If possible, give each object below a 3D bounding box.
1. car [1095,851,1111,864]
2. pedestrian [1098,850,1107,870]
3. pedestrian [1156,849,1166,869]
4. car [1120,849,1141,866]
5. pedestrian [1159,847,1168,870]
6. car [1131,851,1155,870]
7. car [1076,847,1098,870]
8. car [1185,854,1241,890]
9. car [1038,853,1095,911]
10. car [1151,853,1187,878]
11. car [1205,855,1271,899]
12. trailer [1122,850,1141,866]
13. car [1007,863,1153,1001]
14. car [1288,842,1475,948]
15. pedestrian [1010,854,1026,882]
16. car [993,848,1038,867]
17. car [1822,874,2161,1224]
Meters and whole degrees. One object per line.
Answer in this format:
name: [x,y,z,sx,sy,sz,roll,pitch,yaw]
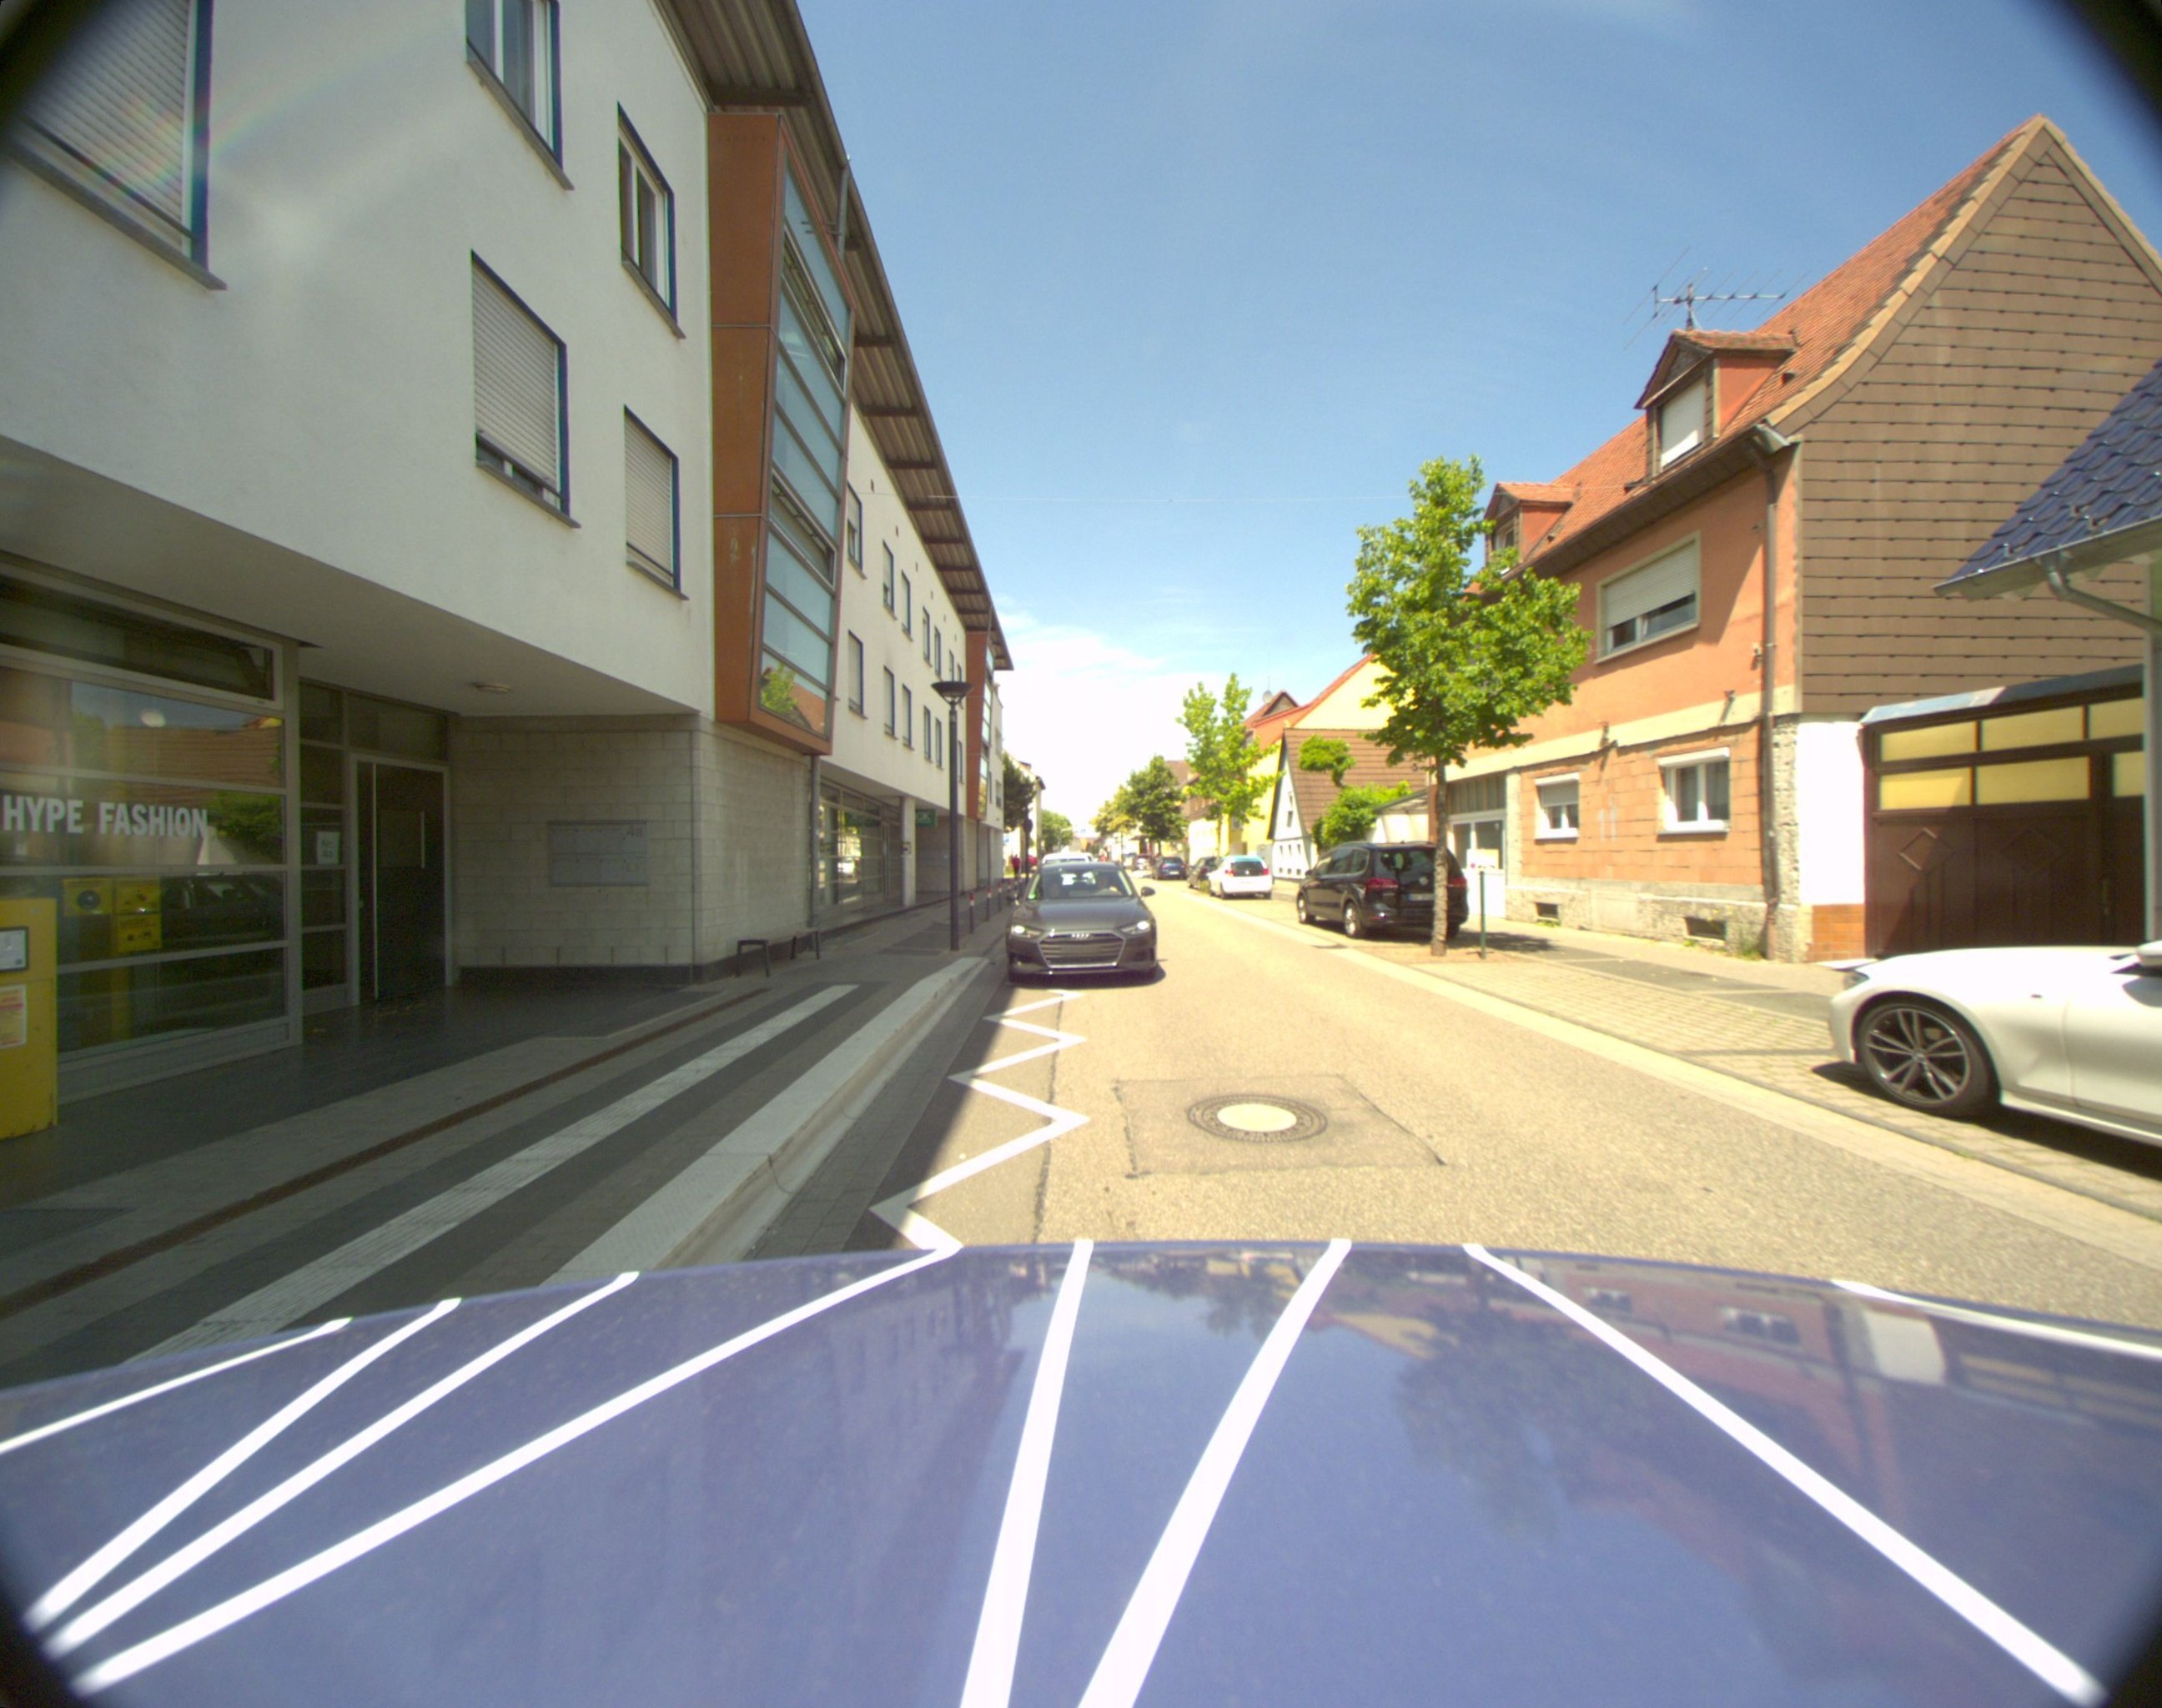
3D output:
car: [2.535,0.417,89.456,1.693,1.464,3.999,2,0,-1]
pedestrian: [1.728,0.479,61.073,0.643,1.645,0.624,0,1,0]
pedestrian: [6.477,0.369,61.512,0.663,1.592,0.771,0,1,0]
car: [5.297,0.366,81.616,1.695,1.742,3.999,-3,0,-2]
pedestrian: [5.842,0.334,53.758,0.631,1.592,0.528,0,1,0]
car: [5.272,0.536,64.903,1.753,1.566,4.157,-1,0,0]
car: [0.414,0.327,55.480,1.581,1.620,4.064,0,0,-1]
car: [5.584,0.732,32.621,1.649,1.422,4.098,1,0,0]
car: [-0.419,0.778,23.264,1.581,1.620,4.064,0,0,-1]
car: [5.231,0.654,45.337,1.660,1.399,4.157,0,0,0]
car: [5.375,0.751,26.348,1.558,1.422,3.409,0,0,0]
trailer: [5.105,0.391,77.245,1.493,1.571,3.882,-3,0,-2]
car: [-0.030,0.885,10.410,1.581,1.424,4.064,-1,0,-1]
car: [5.533,0.672,14.686,1.780,1.716,4.519,-1,0,-1]
pedestrian: [-3.698,0.811,44.571,0.826,1.579,0.919,2,1,0]
car: [-6.341,0.331,74.023,4.204,1.849,2.000,0,0,-1]
car: [5.506,0.867,2.539,1.724,1.428,4.459,-1,0,0]
